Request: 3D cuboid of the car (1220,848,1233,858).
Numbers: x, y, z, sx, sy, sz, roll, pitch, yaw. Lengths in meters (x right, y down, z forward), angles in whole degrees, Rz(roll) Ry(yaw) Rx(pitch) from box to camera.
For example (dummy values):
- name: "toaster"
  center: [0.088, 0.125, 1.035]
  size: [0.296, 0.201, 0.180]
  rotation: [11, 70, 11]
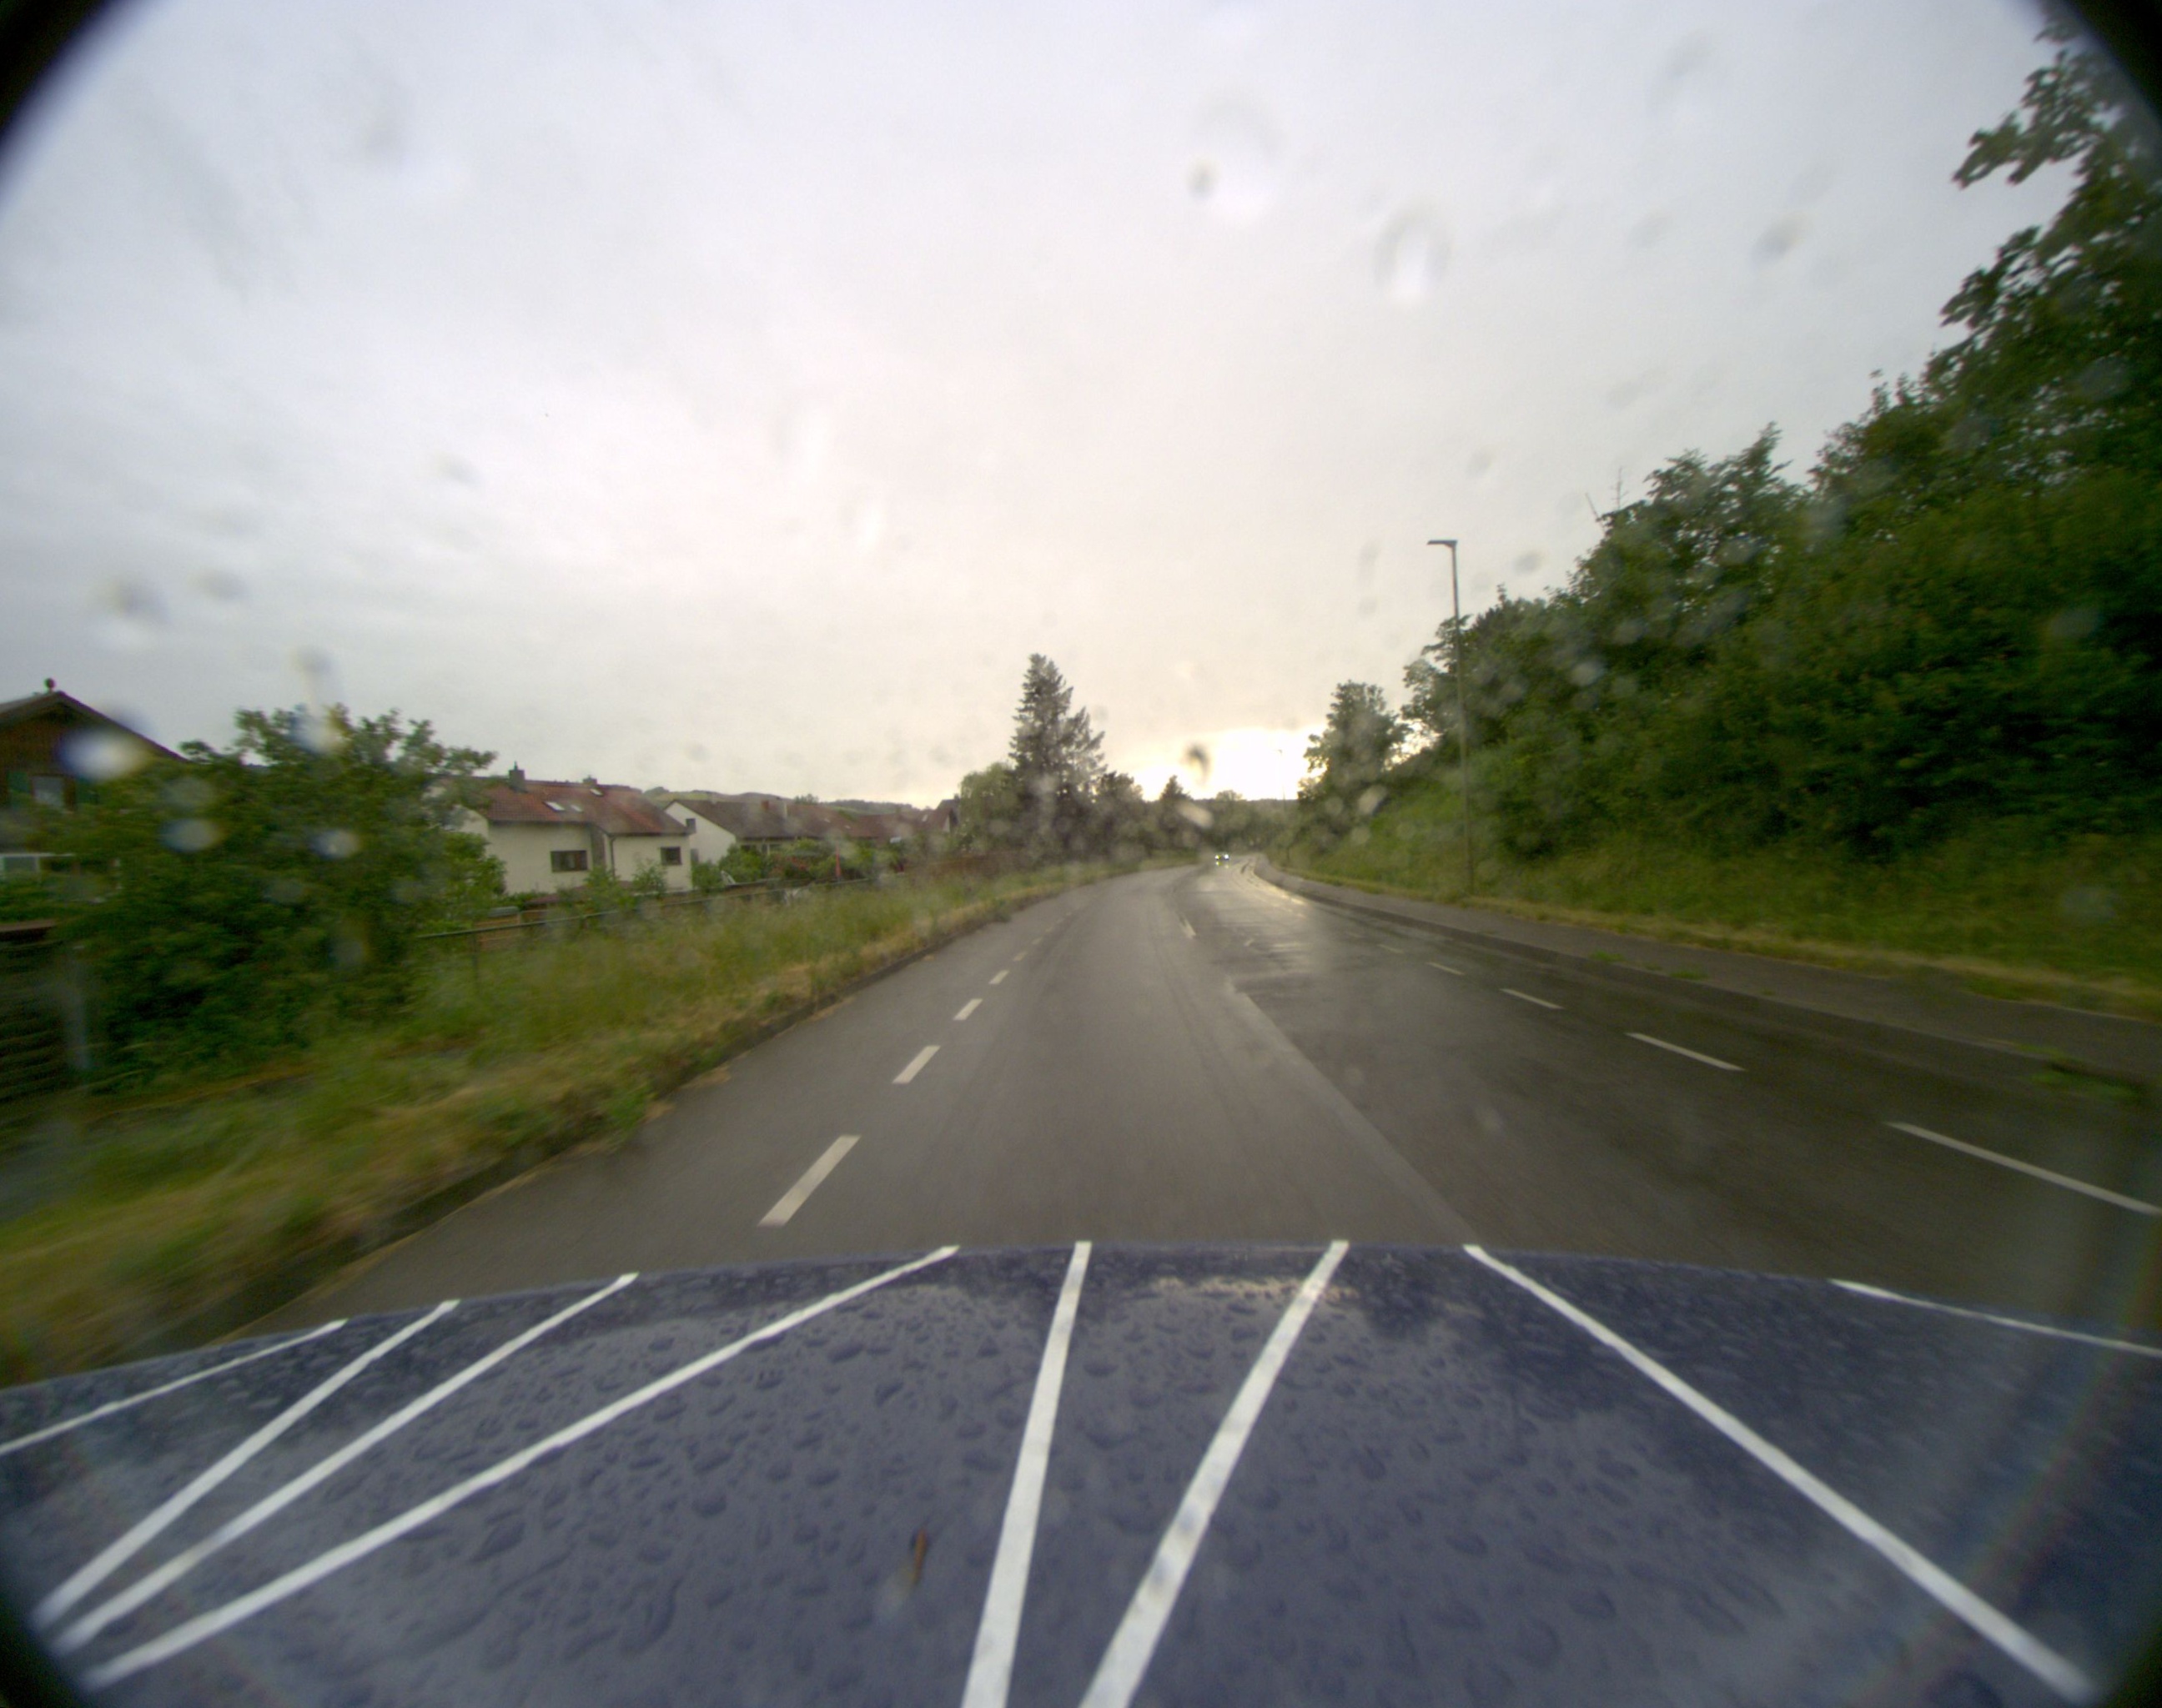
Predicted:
- name: "car"
  center: [23.707, -0.227, 123.915]
  size: [1.877, 1.596, 4.004]
  rotation: [-1, 0, 13]
